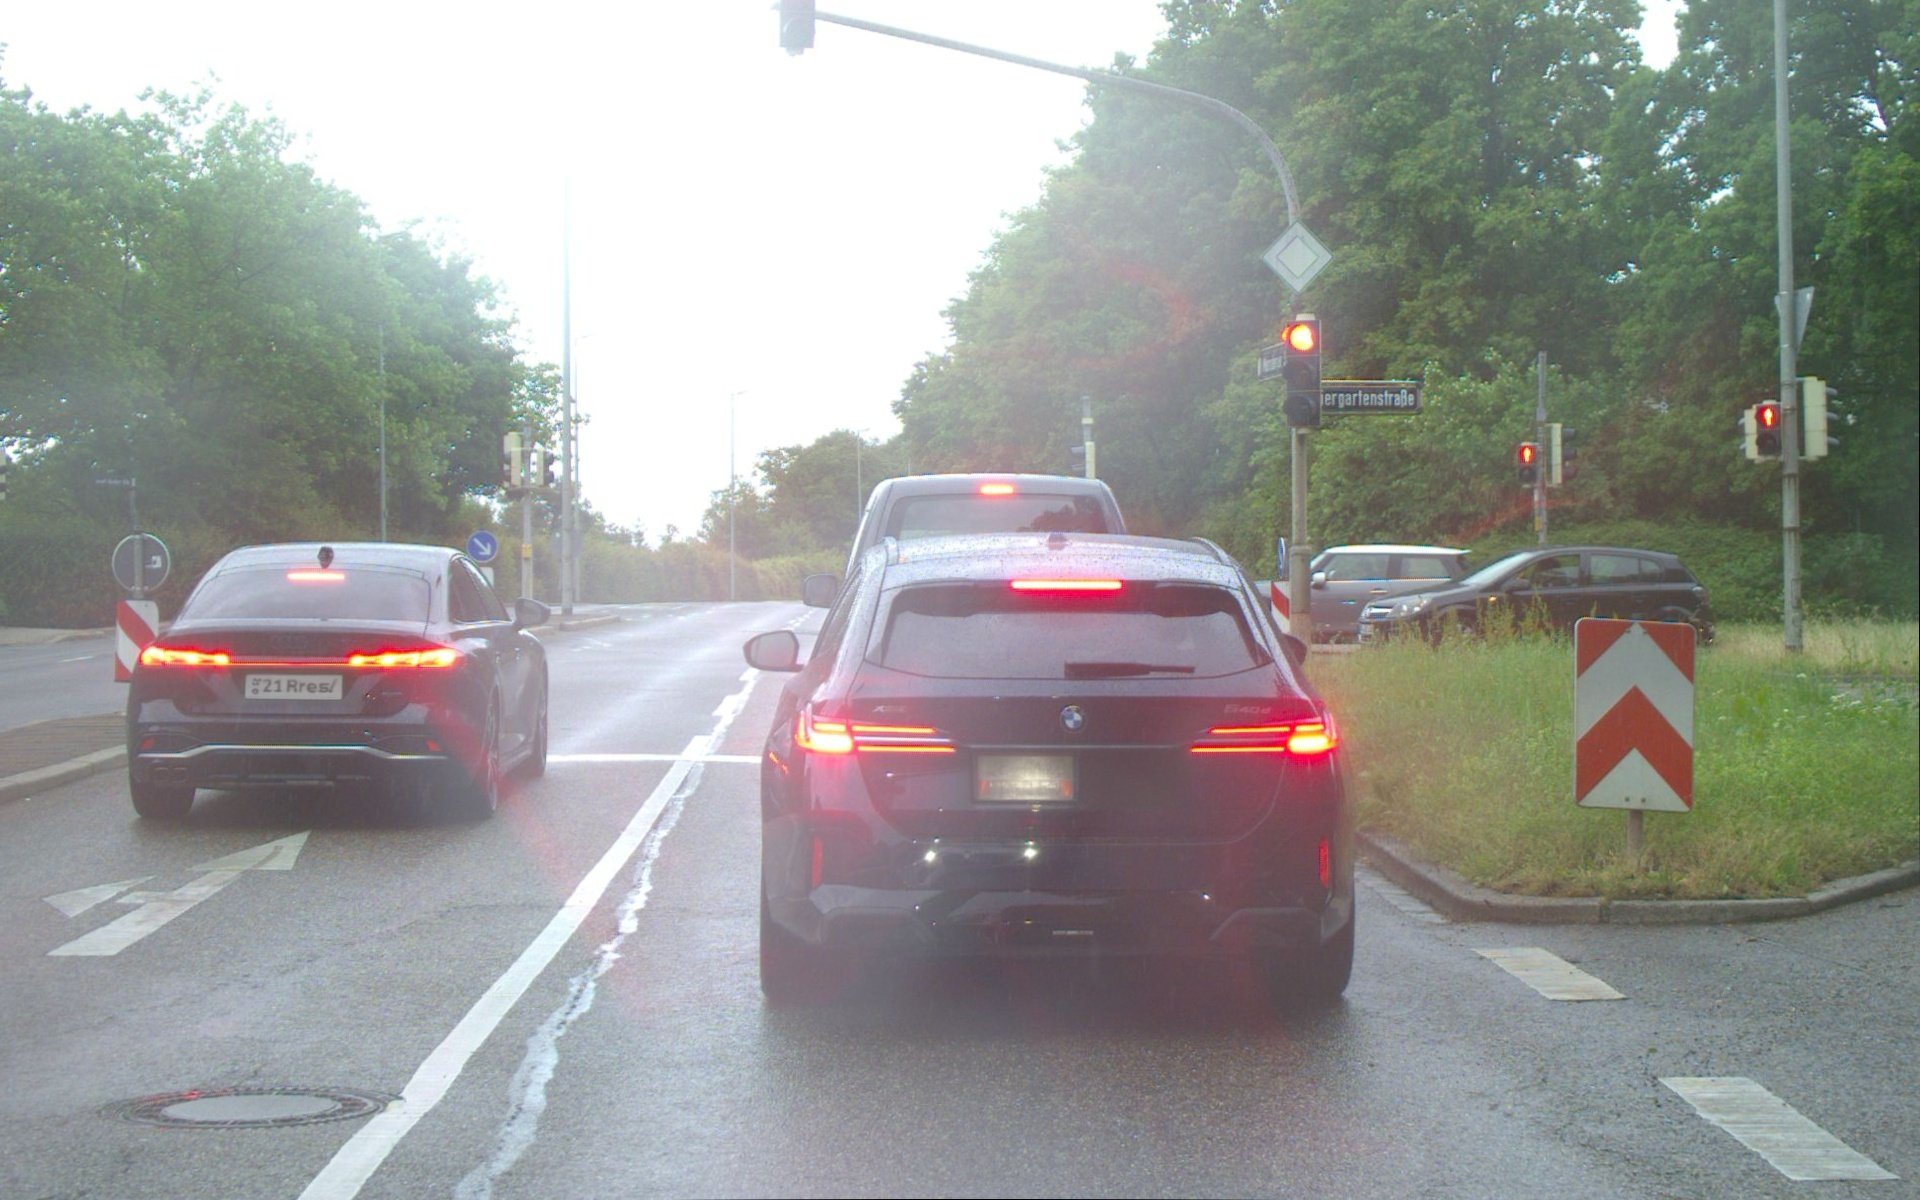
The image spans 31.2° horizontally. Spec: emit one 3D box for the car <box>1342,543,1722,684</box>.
[{"bbox_3d":[6.683,0.134,40.395,3.986,1.504,1.902,-1,1,-7],"label":"car"}]

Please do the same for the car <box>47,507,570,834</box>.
[{"bbox_3d":[-3.396,0.315,18.792,1.993,1.522,4.328,-2,1,0],"label":"car"}]

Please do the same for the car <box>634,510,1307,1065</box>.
[{"bbox_3d":[0.145,0.528,12.123,1.898,1.546,4.614,1,0,3],"label":"car"}]

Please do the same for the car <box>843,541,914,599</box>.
[{"bbox_3d":[-2.422,-0.904,102.915,1.993,1.618,3.952,-2,1,0],"label":"car"}]

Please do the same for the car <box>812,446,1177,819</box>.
[{"bbox_3d":[0.173,0.142,19.368,1.818,1.862,3.952,1,1,0],"label":"car"}]

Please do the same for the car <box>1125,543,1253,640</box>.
[{"bbox_3d":[3.855,-0.157,58.413,1.873,1.537,3.952,-2,1,0],"label":"car"}]

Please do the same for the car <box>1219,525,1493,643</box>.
[{"bbox_3d":[5.261,-0.214,45.731,3.503,1.422,1.702,-2,0,6],"label":"car"}]
